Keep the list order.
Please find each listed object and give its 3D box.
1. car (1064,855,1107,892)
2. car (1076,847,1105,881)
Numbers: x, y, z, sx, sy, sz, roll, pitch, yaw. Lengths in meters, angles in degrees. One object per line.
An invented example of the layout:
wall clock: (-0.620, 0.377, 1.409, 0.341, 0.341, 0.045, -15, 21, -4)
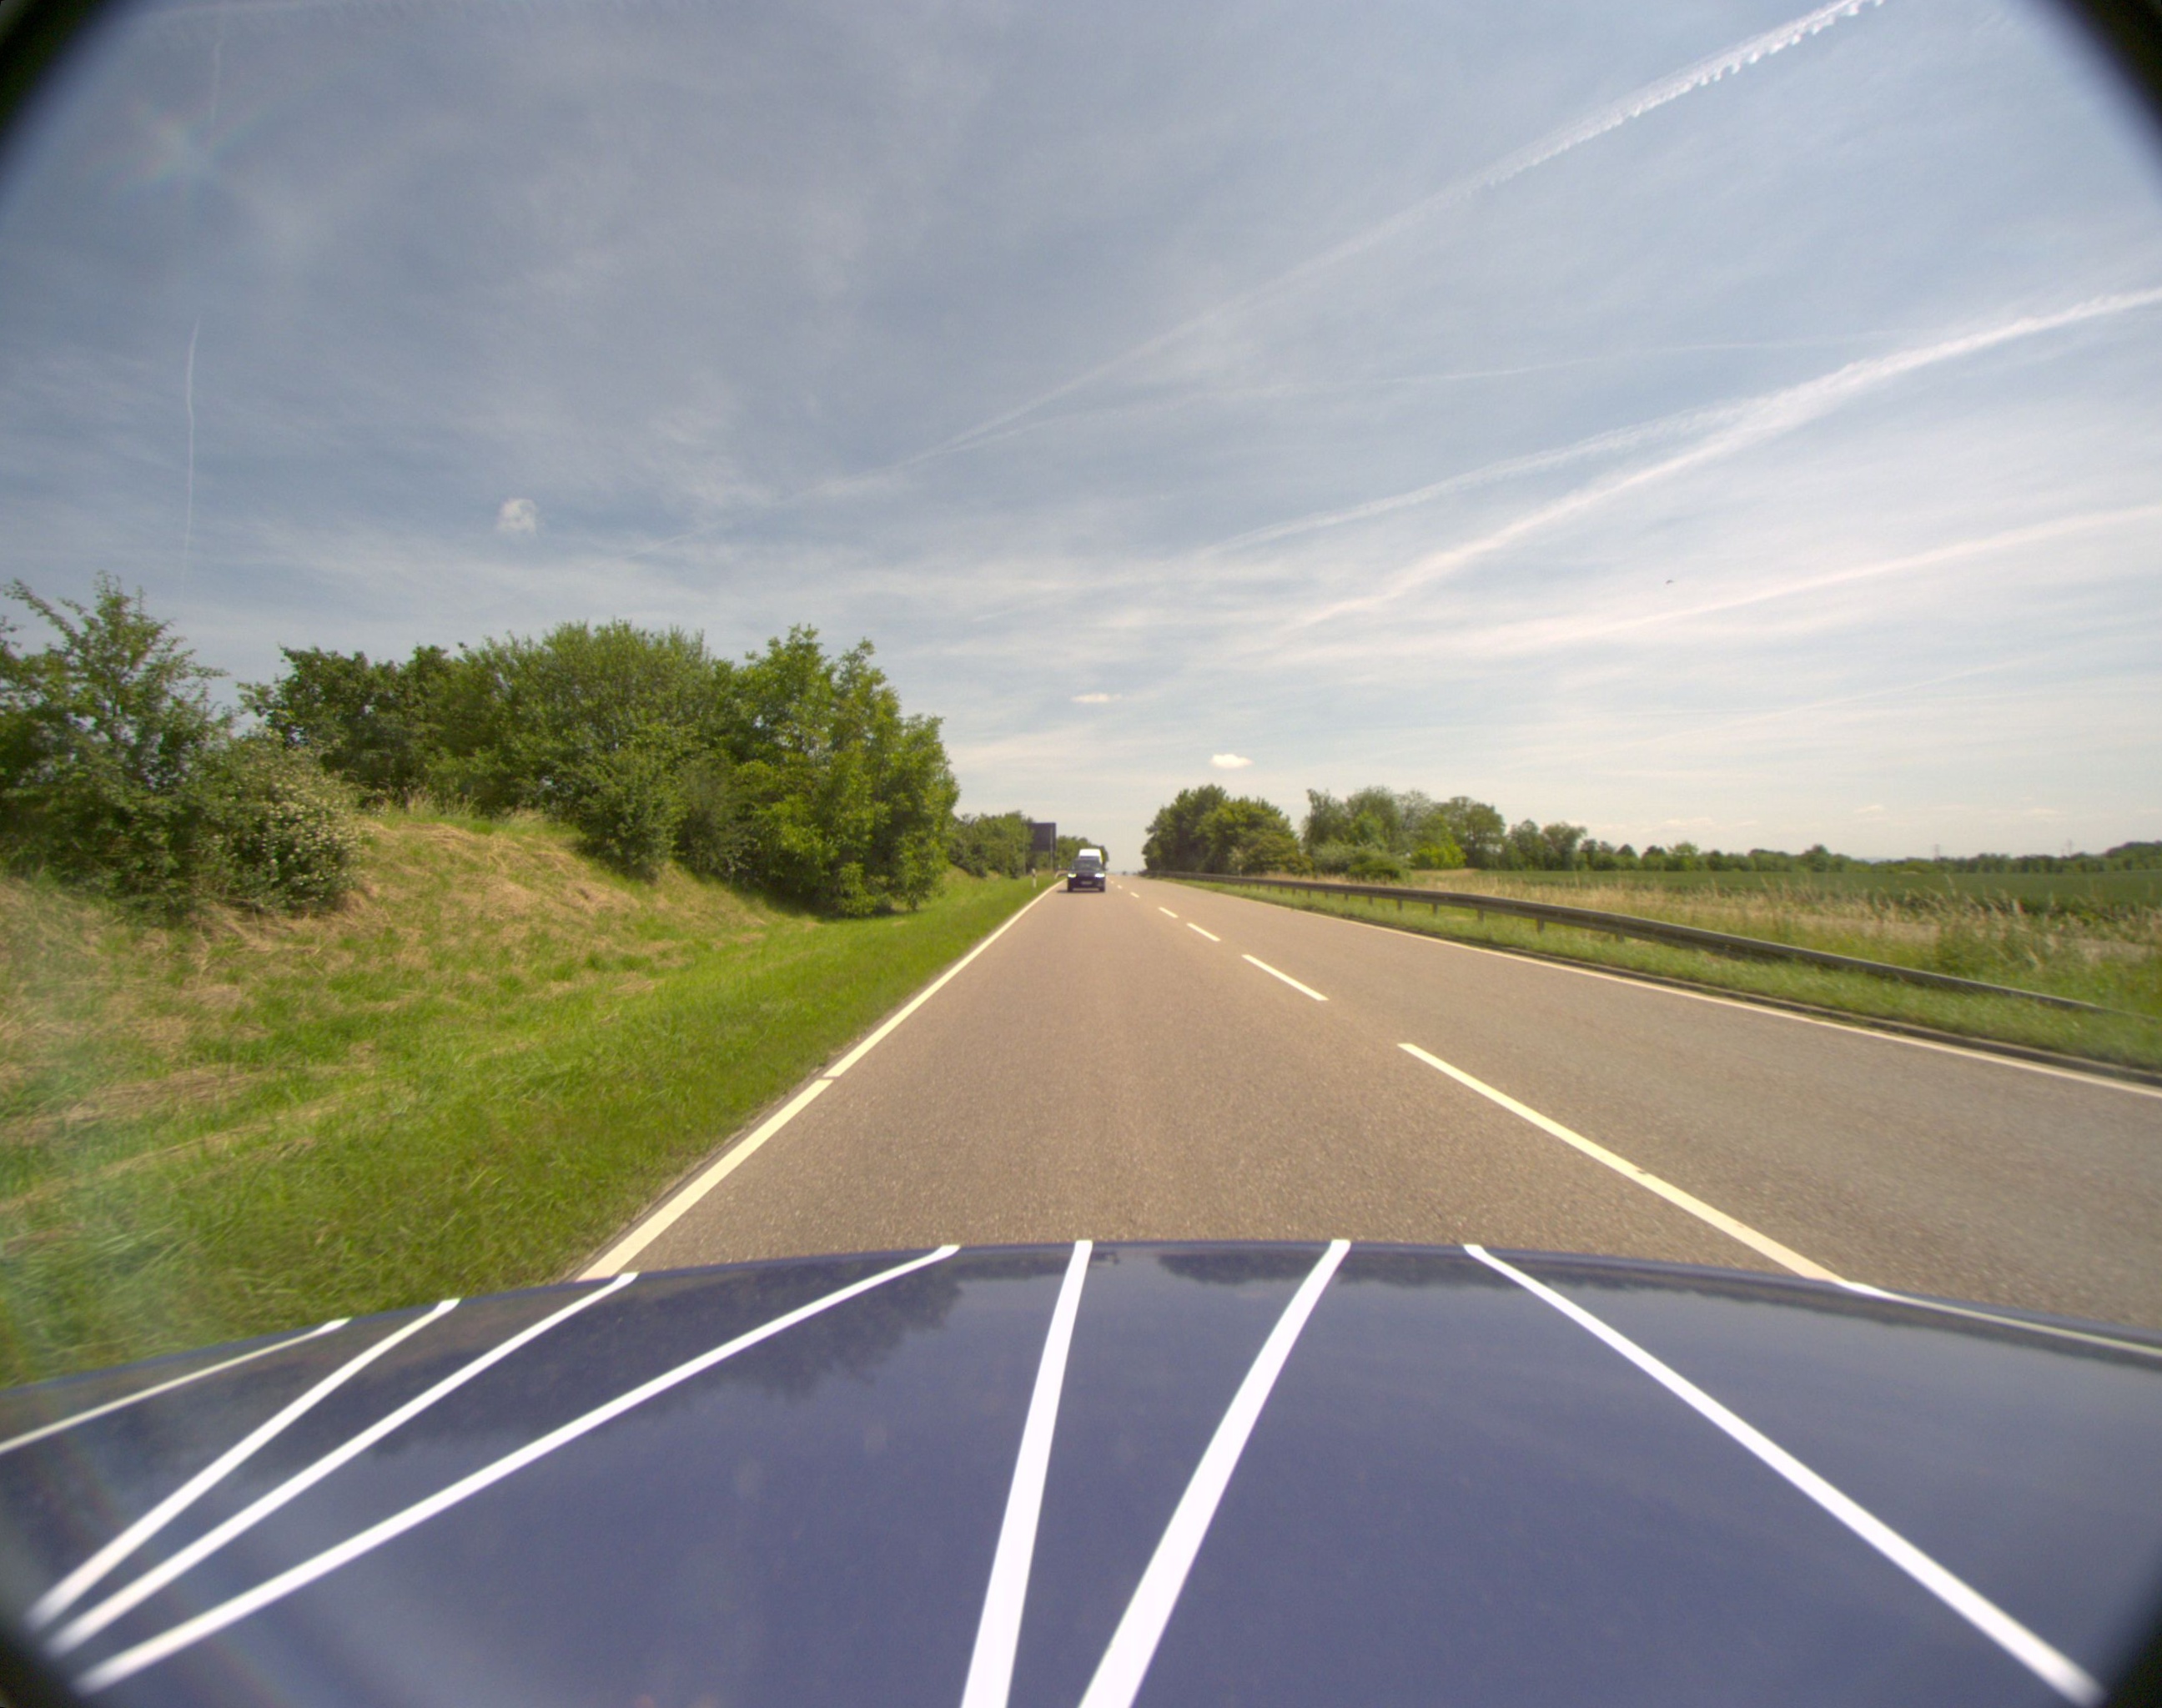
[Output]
car: (0.323, 0.920, 38.932, 2.039, 1.691, 5.513, 0, 0, 2)
car: (0.858, 0.764, 62.136, 2.225, 2.617, 5.753, -1, 0, 2)
